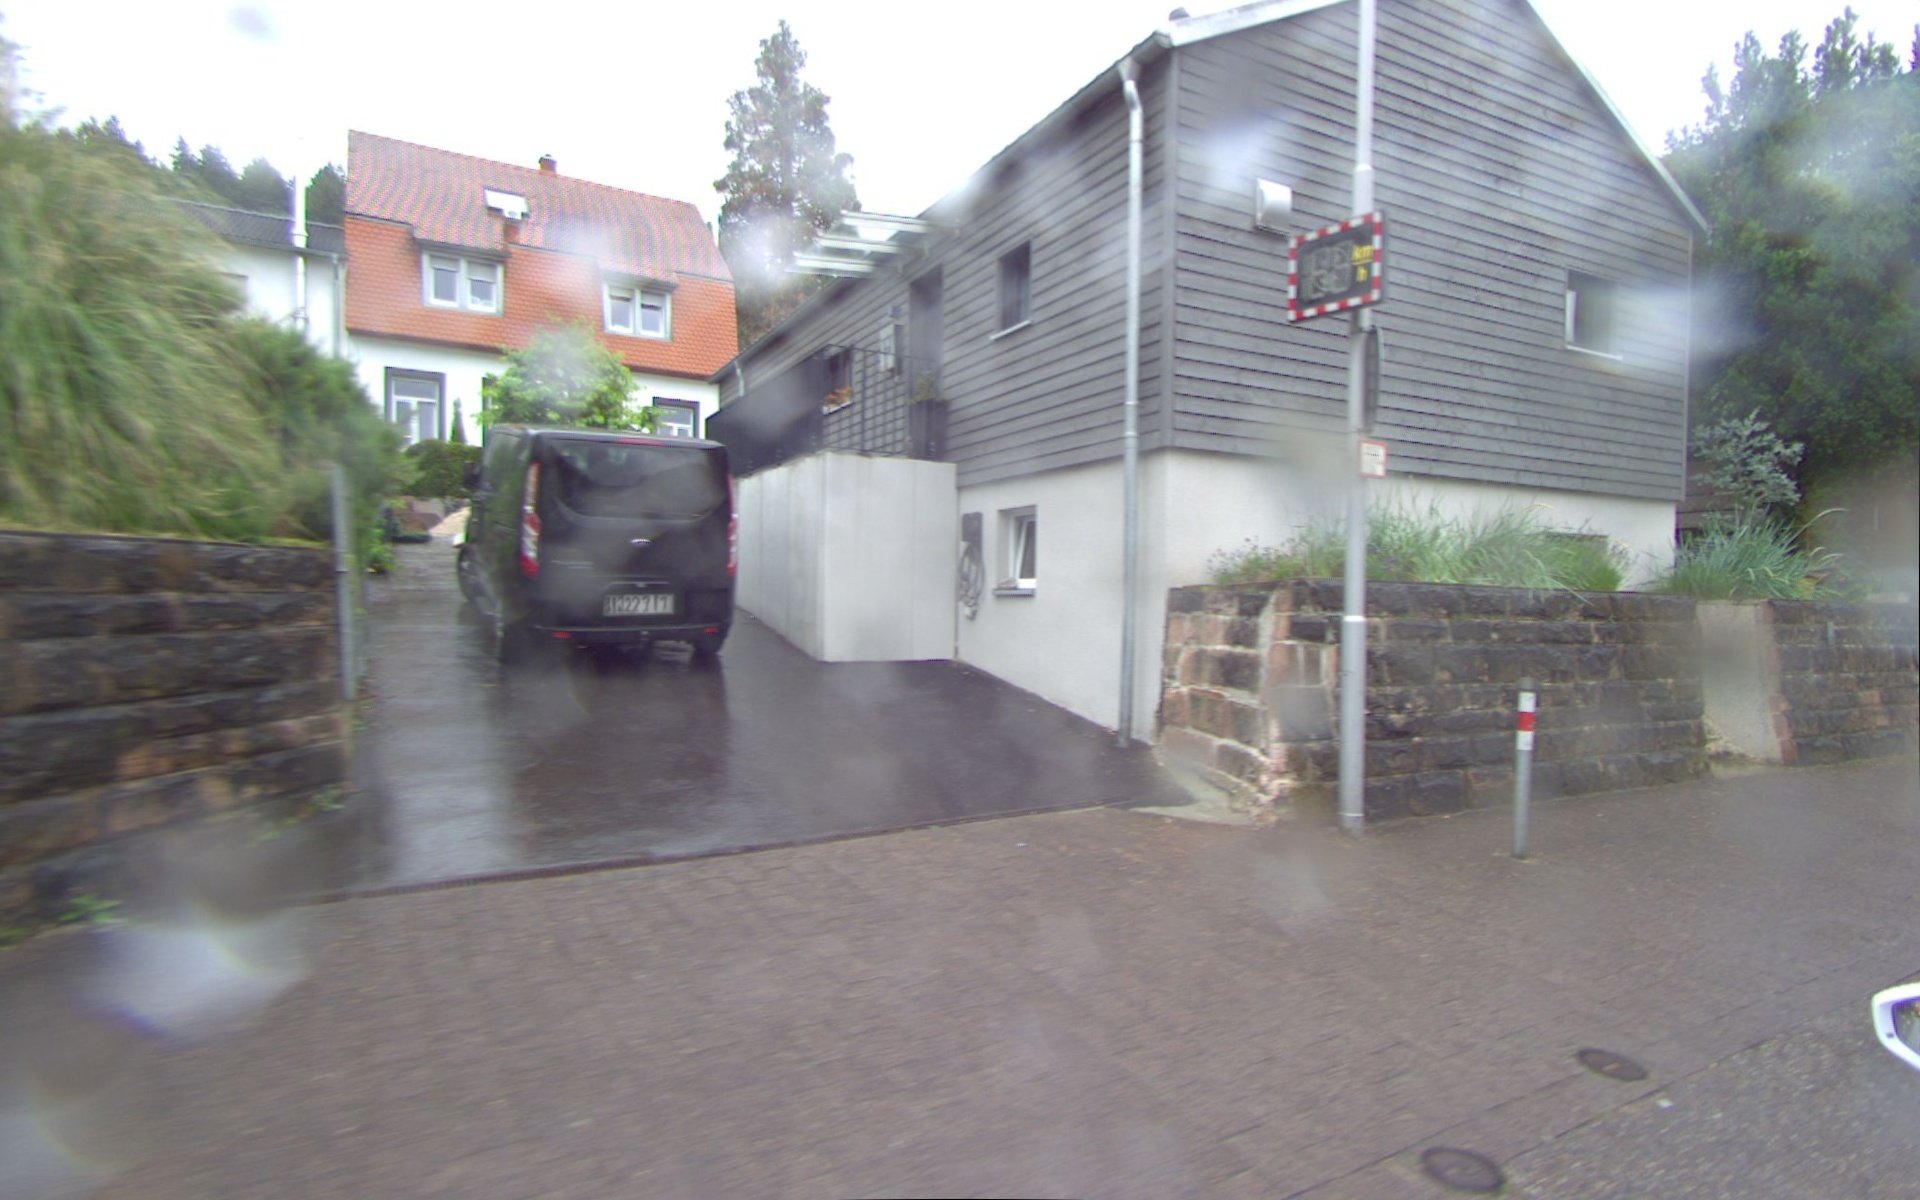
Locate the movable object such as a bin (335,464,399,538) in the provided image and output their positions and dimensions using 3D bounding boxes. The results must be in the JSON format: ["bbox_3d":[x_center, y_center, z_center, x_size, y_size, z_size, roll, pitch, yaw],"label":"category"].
[{"bbox_3d":[-9.297,-1.537,15.767,0.822,1.050,0.827,2,1,-30],"label":"movable object such as a bin"}]

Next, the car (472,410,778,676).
[{"bbox_3d":[-3.436,-0.698,9.705,1.977,1.992,3.967,2,8,-30],"label":"car"}]

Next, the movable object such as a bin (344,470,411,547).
[{"bbox_3d":[-8.659,-1.353,14.961,0.822,1.050,0.827,2,4,-30],"label":"movable object such as a bin"}]

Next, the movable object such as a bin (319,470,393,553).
[{"bbox_3d":[-8.280,-1.216,13.807,0.822,1.050,0.827,2,5,-30],"label":"movable object such as a bin"}]
